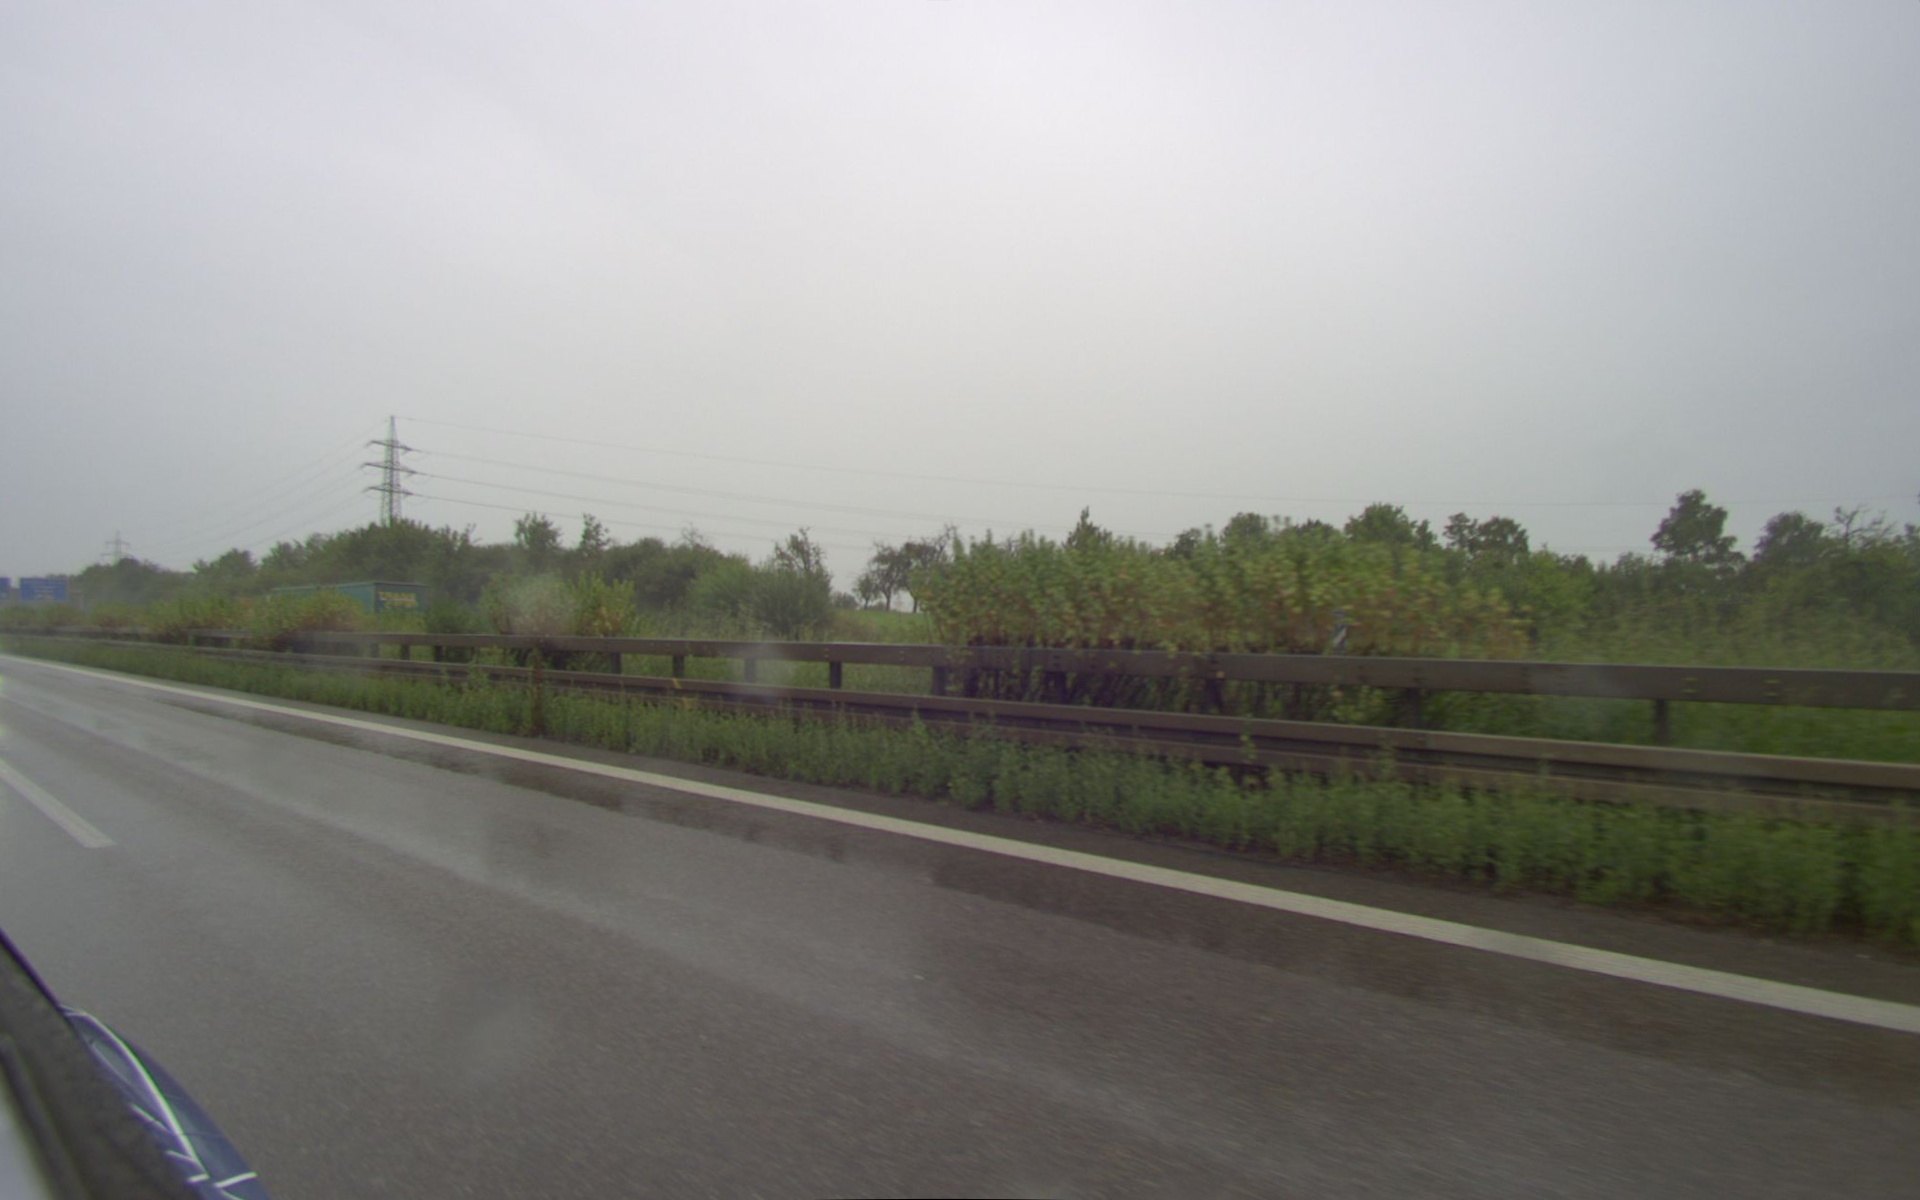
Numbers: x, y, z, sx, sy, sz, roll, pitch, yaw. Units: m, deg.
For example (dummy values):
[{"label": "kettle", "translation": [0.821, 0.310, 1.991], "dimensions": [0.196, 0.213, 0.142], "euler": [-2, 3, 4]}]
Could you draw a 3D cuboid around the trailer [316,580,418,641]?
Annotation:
[{"label": "trailer", "translation": [-31.932, 0.539, 54.303], "dimensions": [8.261, 3.088, 2.223], "euler": [-1, 0, 41]}]

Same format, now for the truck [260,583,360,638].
[{"label": "truck", "translation": [-39.036, 0.623, 60.562], "dimensions": [10.611, 3.059, 2.217], "euler": [-1, 0, 41]}]
